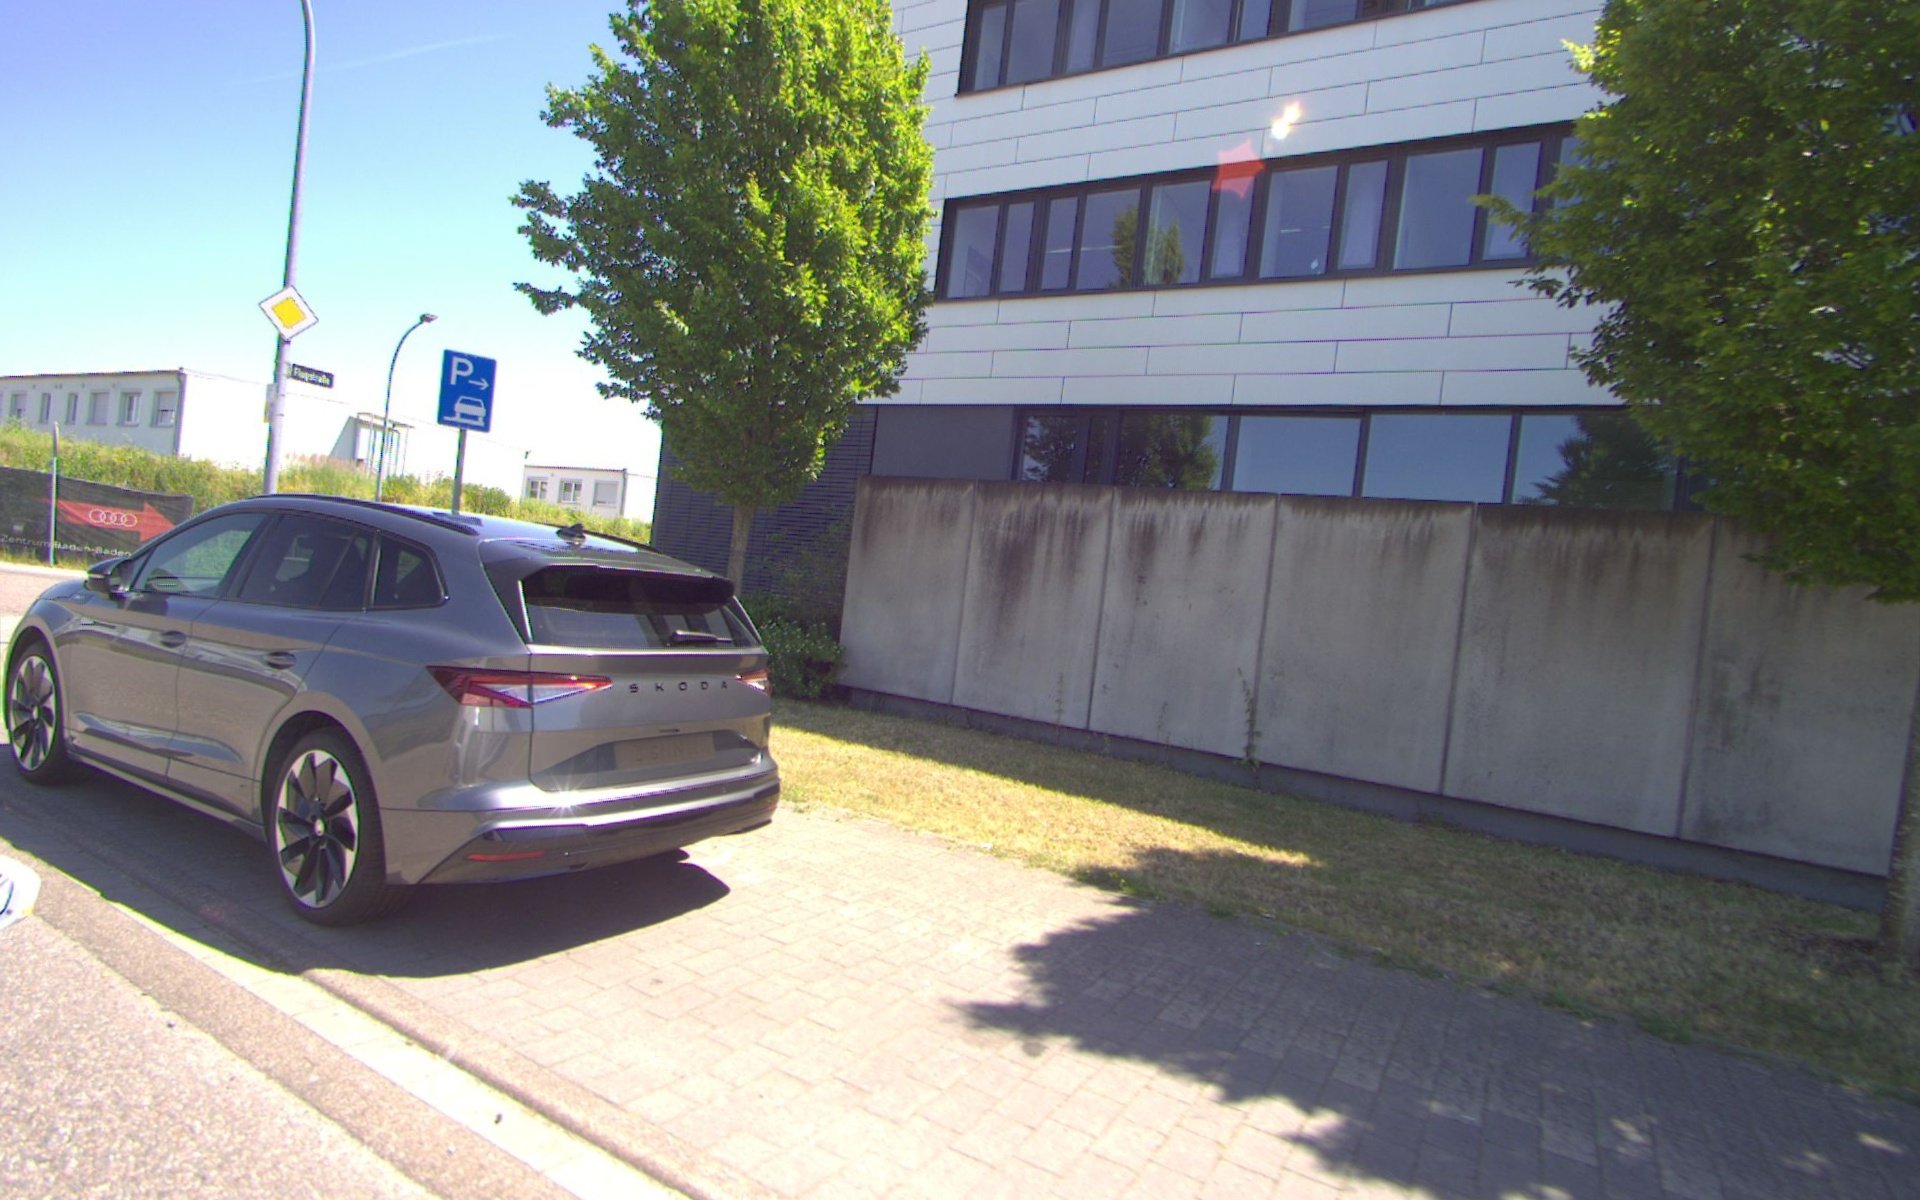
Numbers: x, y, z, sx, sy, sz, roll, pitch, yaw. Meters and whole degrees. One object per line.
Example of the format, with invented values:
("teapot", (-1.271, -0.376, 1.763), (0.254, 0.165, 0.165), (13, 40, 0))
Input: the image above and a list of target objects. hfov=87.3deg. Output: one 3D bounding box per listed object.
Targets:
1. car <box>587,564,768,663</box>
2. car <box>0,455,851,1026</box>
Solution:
("car", (-6.447, 0.281, 22.785), (3.938, 1.786, 1.720), (5, -1, 35))
("car", (-2.981, 0.316, 5.113), (4.530, 1.684, 1.805), (7, 2, 30))
